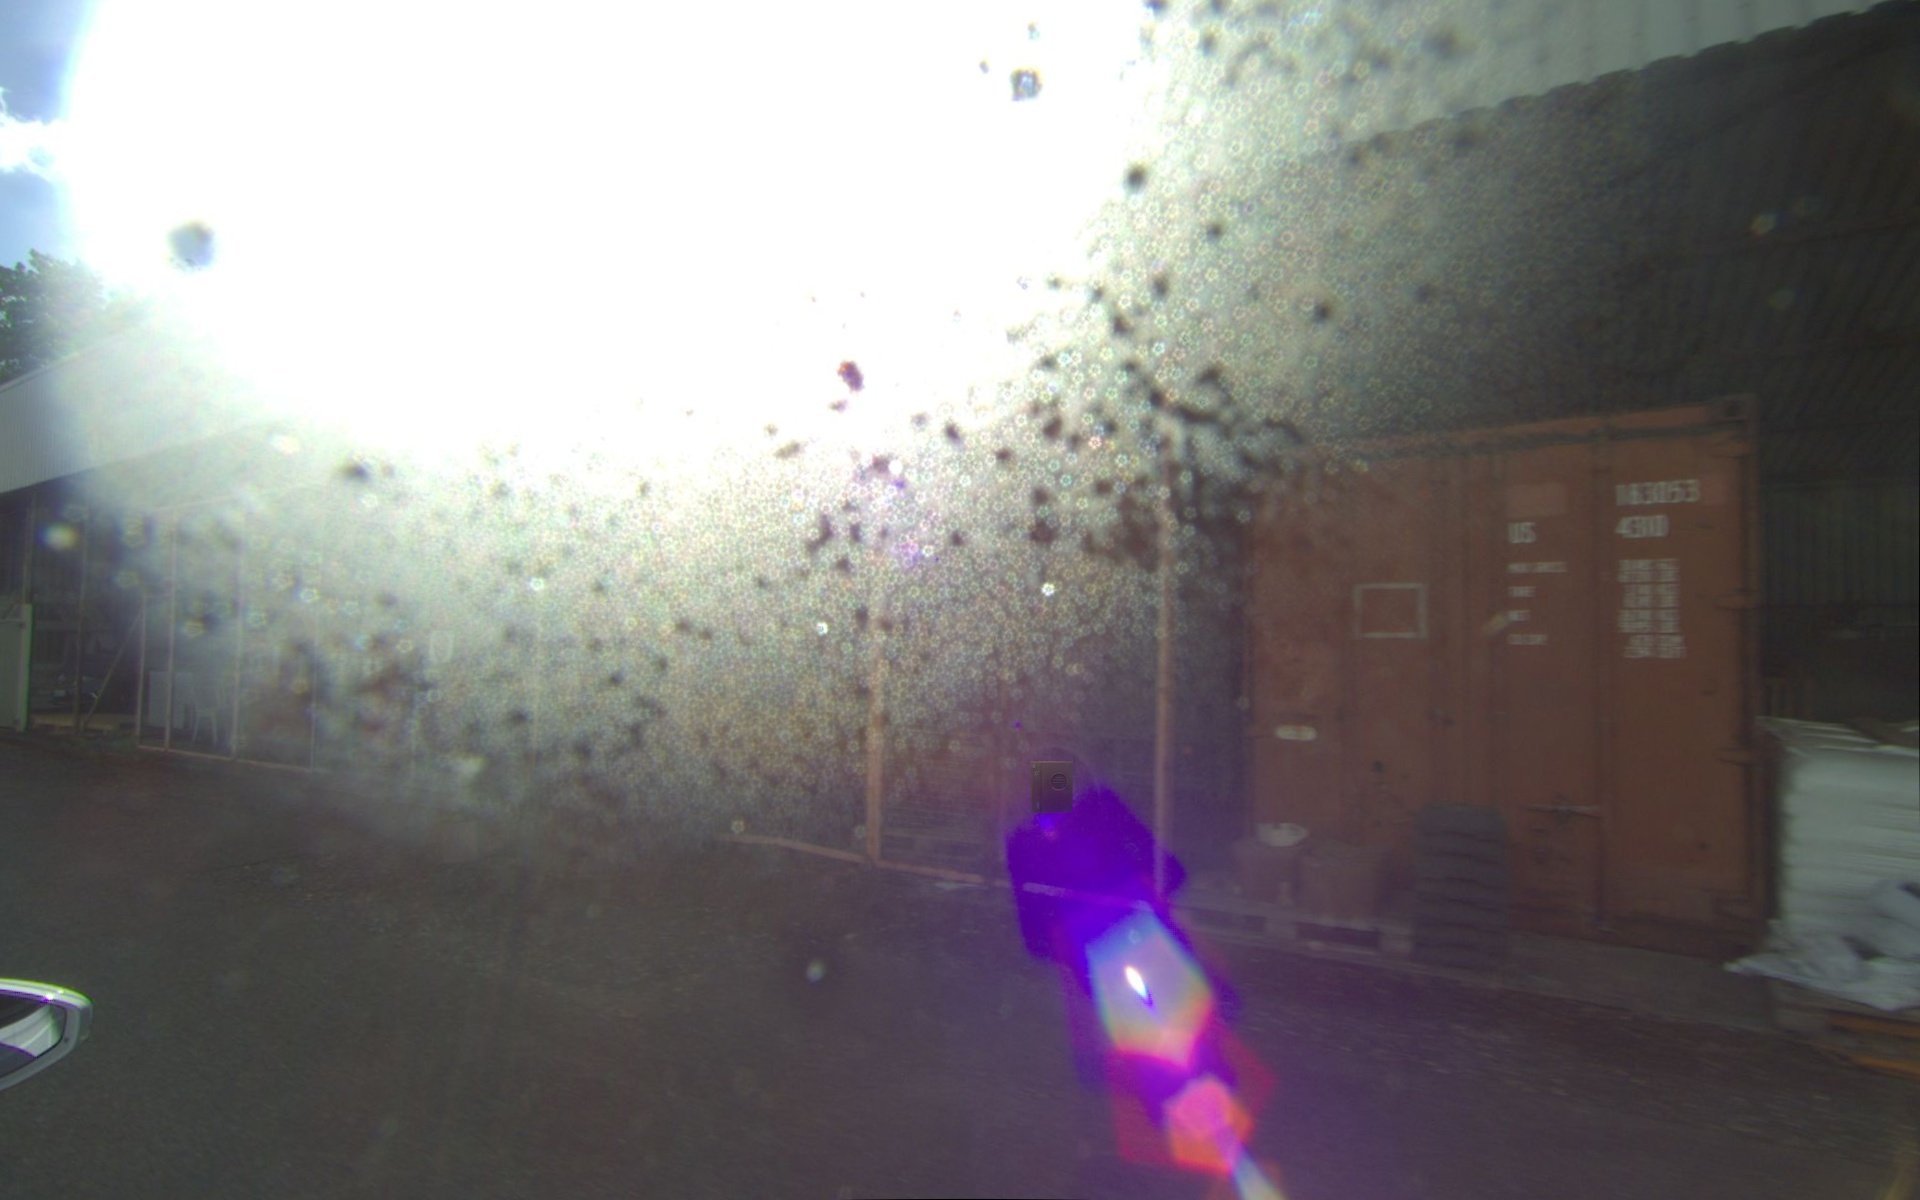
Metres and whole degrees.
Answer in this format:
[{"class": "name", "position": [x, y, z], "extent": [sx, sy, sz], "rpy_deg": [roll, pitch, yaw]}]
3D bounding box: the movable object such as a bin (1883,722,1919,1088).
[{"class": "movable object such as a bin", "position": [3.839, 1.032, 3.211], "extent": [1.222, 1.179, 0.580], "rpy_deg": [-1, -2, 37]}]

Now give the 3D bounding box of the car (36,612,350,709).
[{"class": "car", "position": [-16.904, 1.343, 22.456], "extent": [1.969, 1.899, 5.238], "rpy_deg": [-1, -3, 27]}]

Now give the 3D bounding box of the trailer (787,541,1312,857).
[{"class": "trailer", "position": [0.694, 0.727, 8.487], "extent": [4.040, 2.084, 1.853], "rpy_deg": [-1, -3, 32]}]
